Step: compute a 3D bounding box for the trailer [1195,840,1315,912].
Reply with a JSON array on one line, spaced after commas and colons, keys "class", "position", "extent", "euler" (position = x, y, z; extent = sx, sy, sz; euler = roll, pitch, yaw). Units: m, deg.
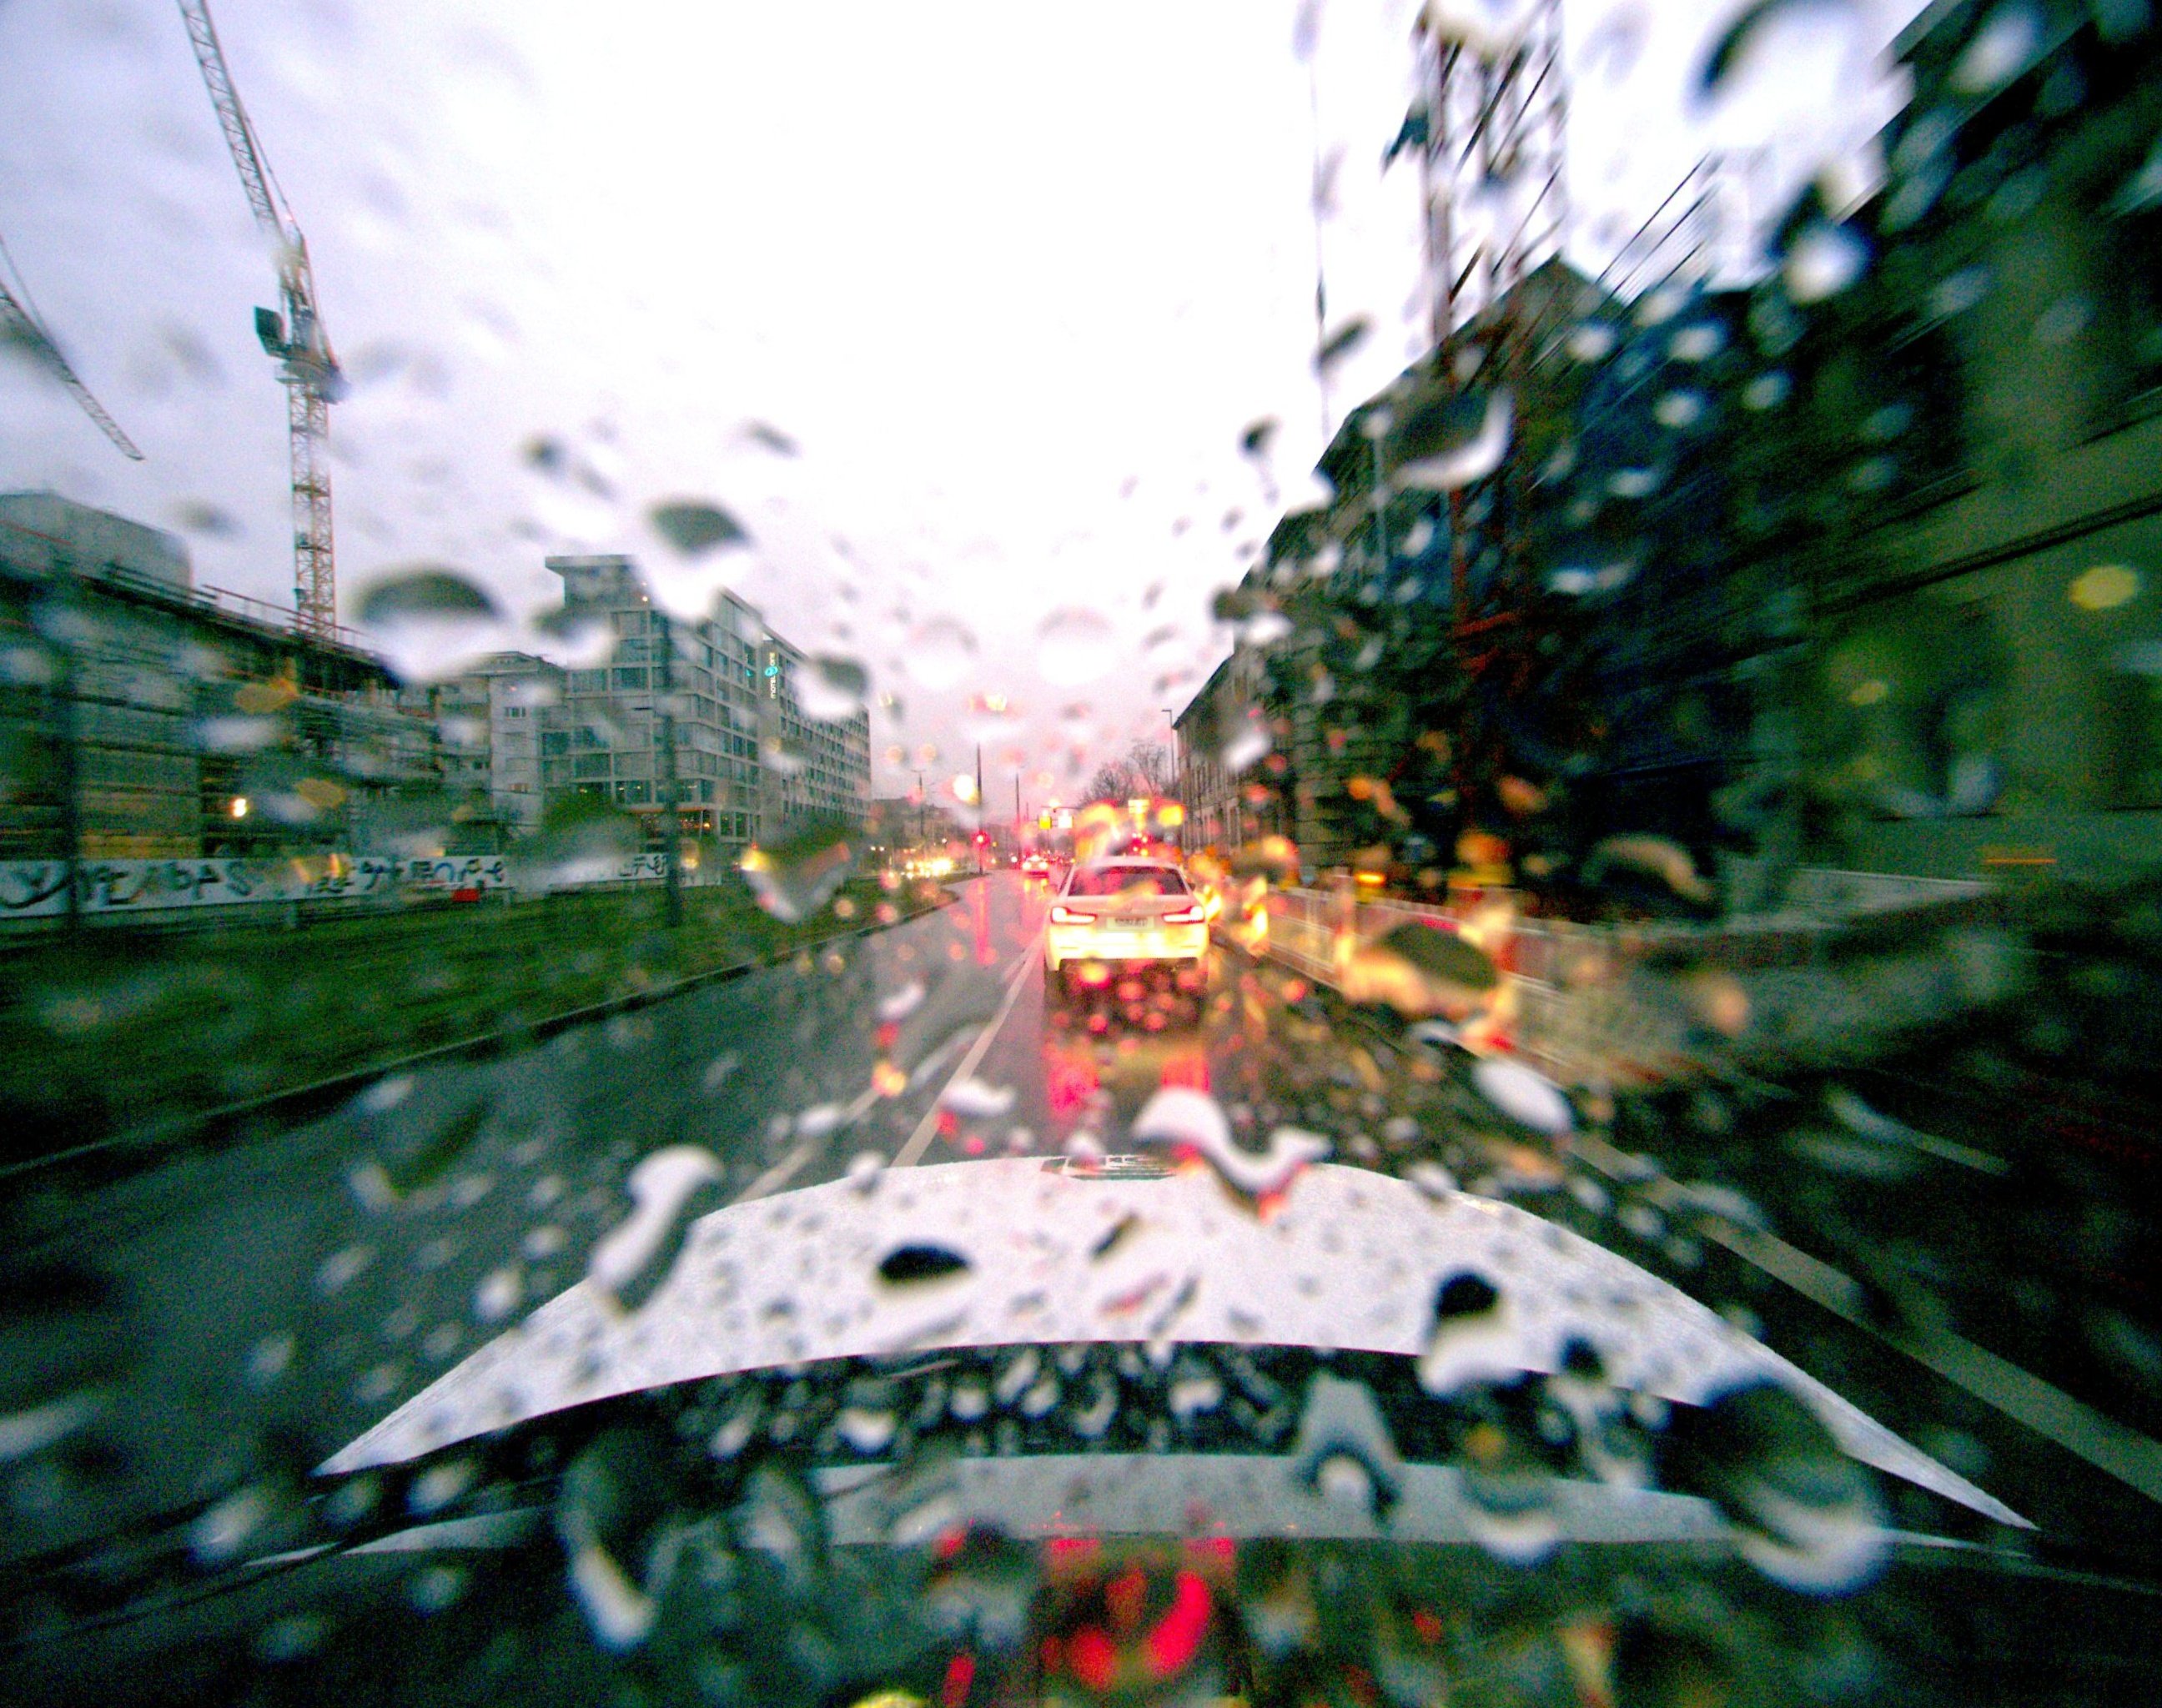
[{"class": "trailer", "position": [4.140, 0.465, 20.167], "extent": [1.830, 1.490, 4.846], "euler": [-2, 1, -1]}]

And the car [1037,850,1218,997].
[{"class": "car", "position": [0.427, 0.706, 10.929], "extent": [1.847, 1.465, 4.944], "euler": [-1, 0, -2]}]

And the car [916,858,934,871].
[{"class": "car", "position": [-22.063, 1.450, 115.345], "extent": [1.852, 1.640, 4.030], "euler": [-1, 0, -1]}]

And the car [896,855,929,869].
[{"class": "car", "position": [-19.150, 0.908, 92.563], "extent": [3.497, 1.492, 1.756], "euler": [-1, 0, 39]}]

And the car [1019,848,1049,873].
[{"class": "car", "position": [-3.285, 0.433, 57.956], "extent": [1.895, 1.641, 3.999], "euler": [-1, 0, -1]}]

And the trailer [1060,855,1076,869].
[{"class": "trailer", "position": [-1.614, 0.988, 100.784], "extent": [1.830, 1.643, 3.995], "euler": [-1, 0, -3]}]

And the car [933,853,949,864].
[{"class": "car", "position": [-22.456, 0.744, 130.936], "extent": [1.552, 1.658, 3.402], "euler": [-1, 0, 7]}]

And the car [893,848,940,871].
[{"class": "car", "position": [-15.100, 0.484, 74.791], "extent": [4.000, 1.975, 1.987], "euler": [-1, 0, -20]}]

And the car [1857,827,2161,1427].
[{"class": "car", "position": [4.644, 0.659, 2.932], "extent": [4.112, 1.518, 1.887], "euler": [-2, 1, -35]}]
